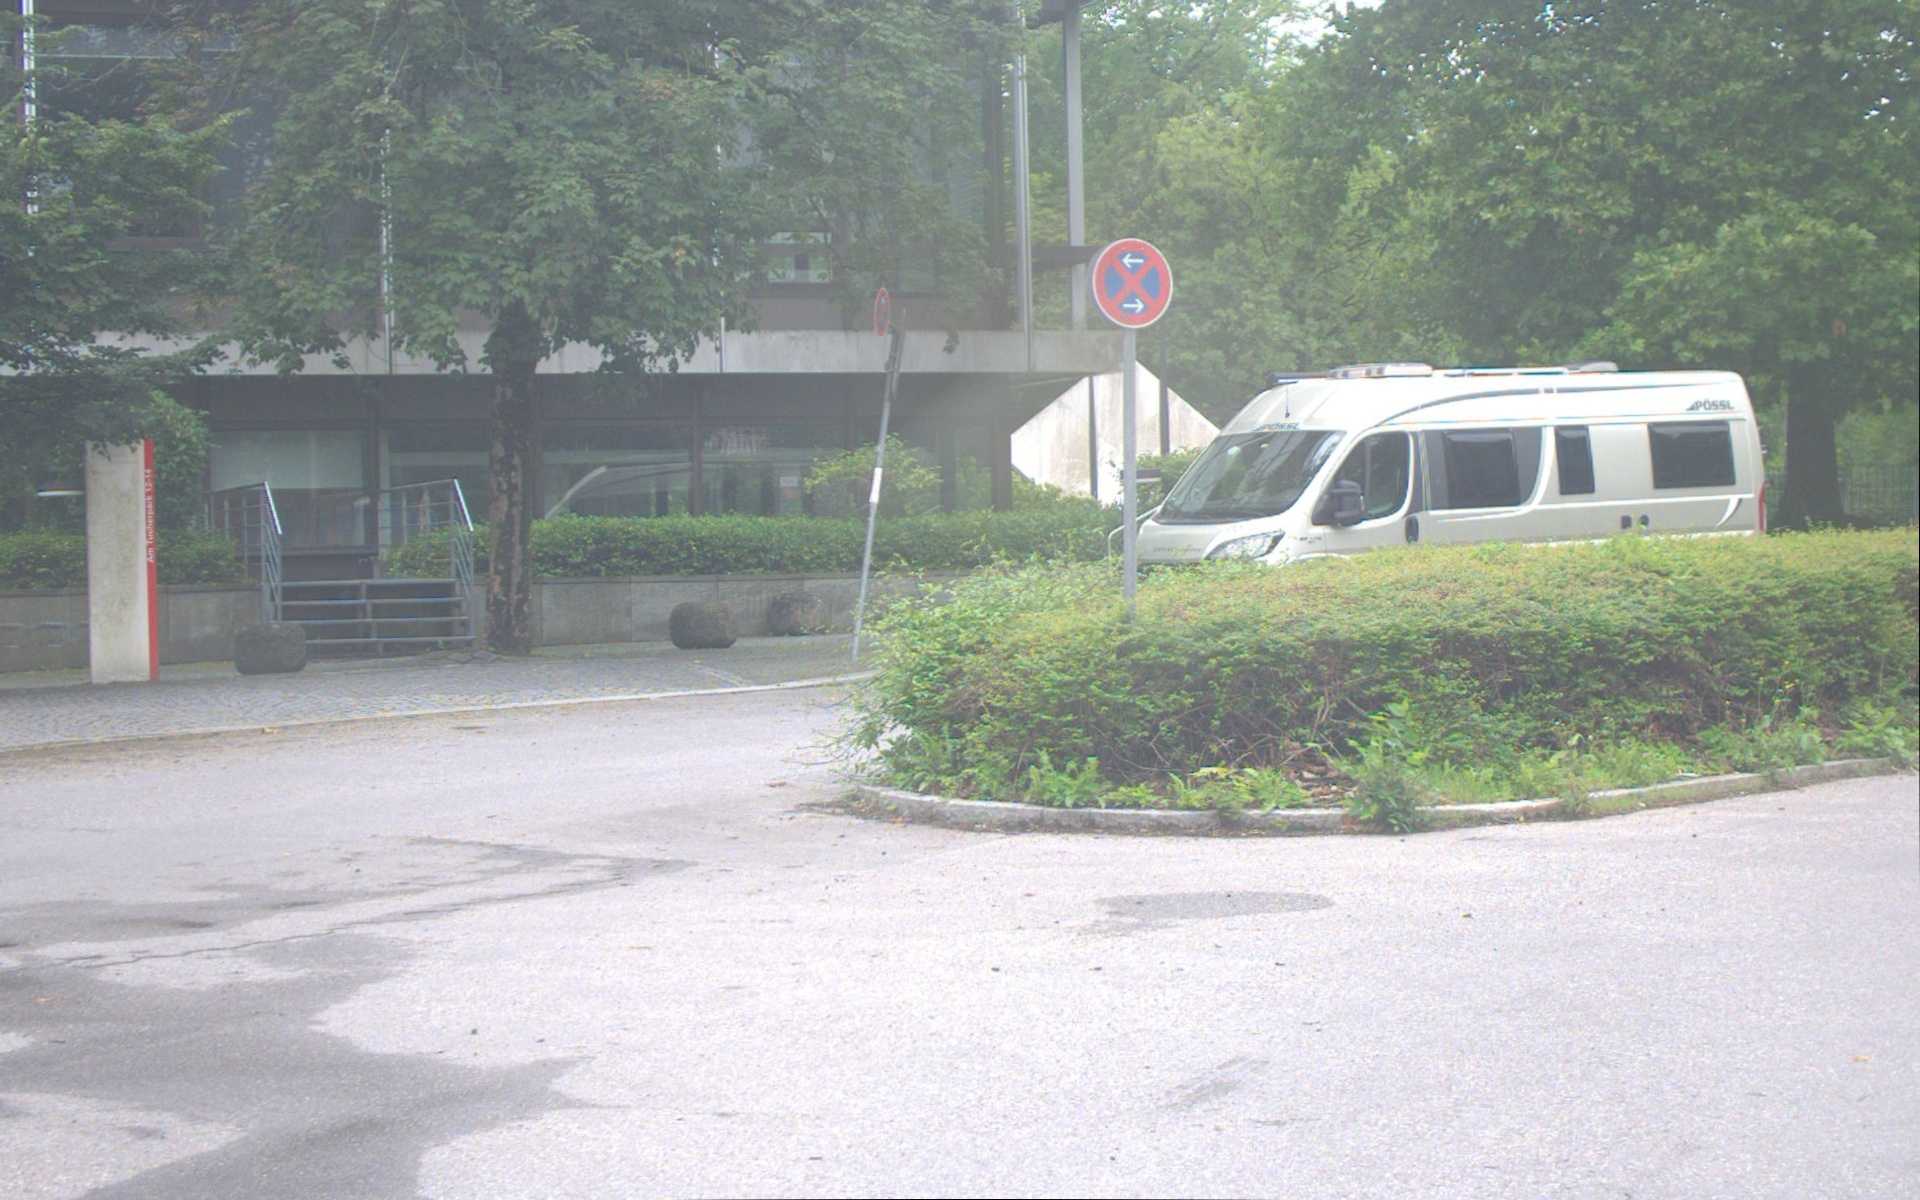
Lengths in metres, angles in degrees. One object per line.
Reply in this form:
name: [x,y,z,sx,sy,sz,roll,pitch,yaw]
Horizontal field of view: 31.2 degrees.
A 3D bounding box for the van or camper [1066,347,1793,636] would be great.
van or camper: [4.169,-0.950,29.830,6.399,2.273,2.255,-2,1,-35]
